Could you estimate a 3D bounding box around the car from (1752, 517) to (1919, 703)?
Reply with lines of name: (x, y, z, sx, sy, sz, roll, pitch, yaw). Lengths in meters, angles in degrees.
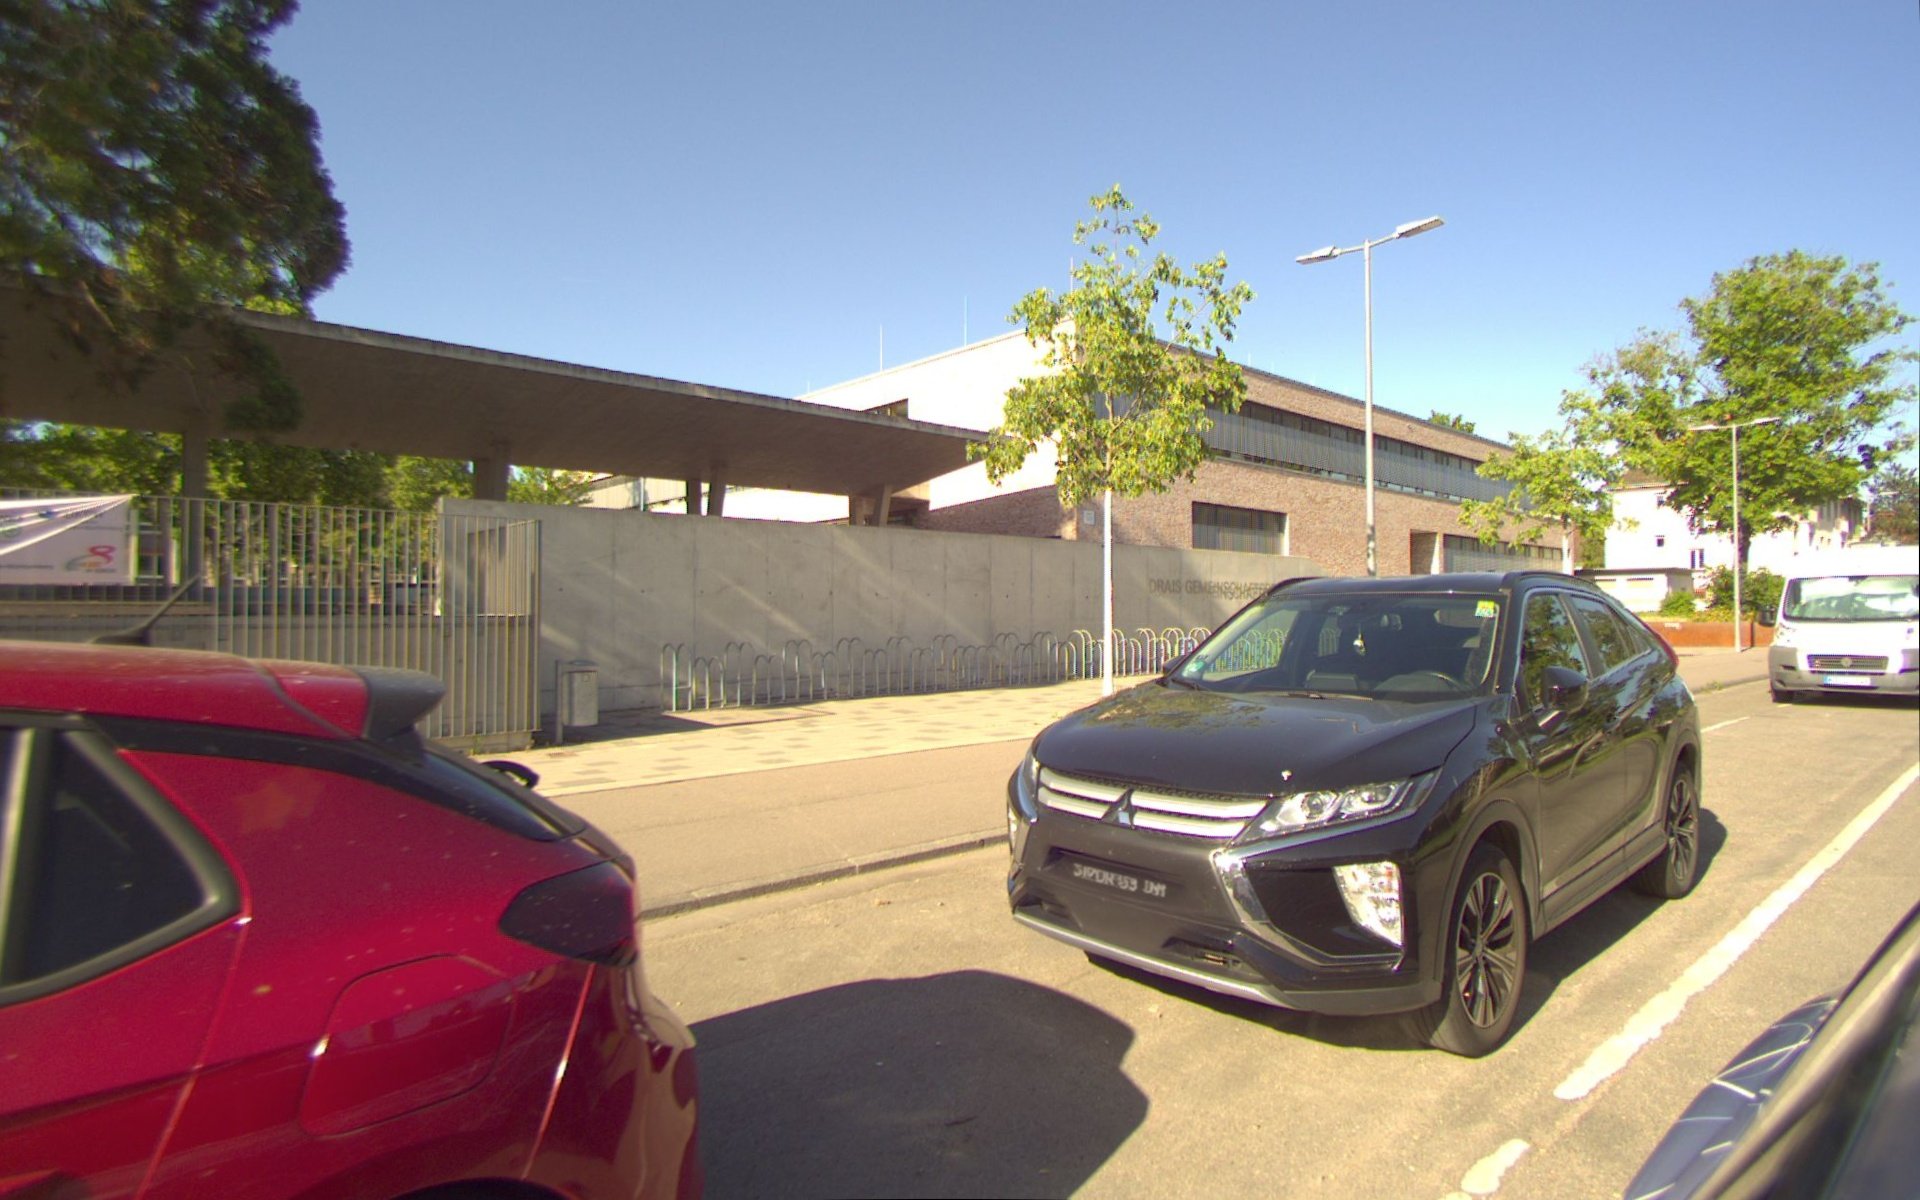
car: (14.951, 0.147, 16.453, 5.337, 2.607, 2.244, 0, -1, -41)

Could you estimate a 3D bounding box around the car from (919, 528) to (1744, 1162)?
car: (2.090, 0.640, 4.837, 4.426, 1.661, 1.848, 0, 0, -42)

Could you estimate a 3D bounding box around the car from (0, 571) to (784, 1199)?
car: (-2.338, 0.710, 1.129, 3.881, 1.473, 1.797, 0, 0, -42)

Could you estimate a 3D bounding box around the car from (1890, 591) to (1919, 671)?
car: (20.894, 0.625, 21.336, 3.531, 1.609, 1.621, 0, -1, -43)
